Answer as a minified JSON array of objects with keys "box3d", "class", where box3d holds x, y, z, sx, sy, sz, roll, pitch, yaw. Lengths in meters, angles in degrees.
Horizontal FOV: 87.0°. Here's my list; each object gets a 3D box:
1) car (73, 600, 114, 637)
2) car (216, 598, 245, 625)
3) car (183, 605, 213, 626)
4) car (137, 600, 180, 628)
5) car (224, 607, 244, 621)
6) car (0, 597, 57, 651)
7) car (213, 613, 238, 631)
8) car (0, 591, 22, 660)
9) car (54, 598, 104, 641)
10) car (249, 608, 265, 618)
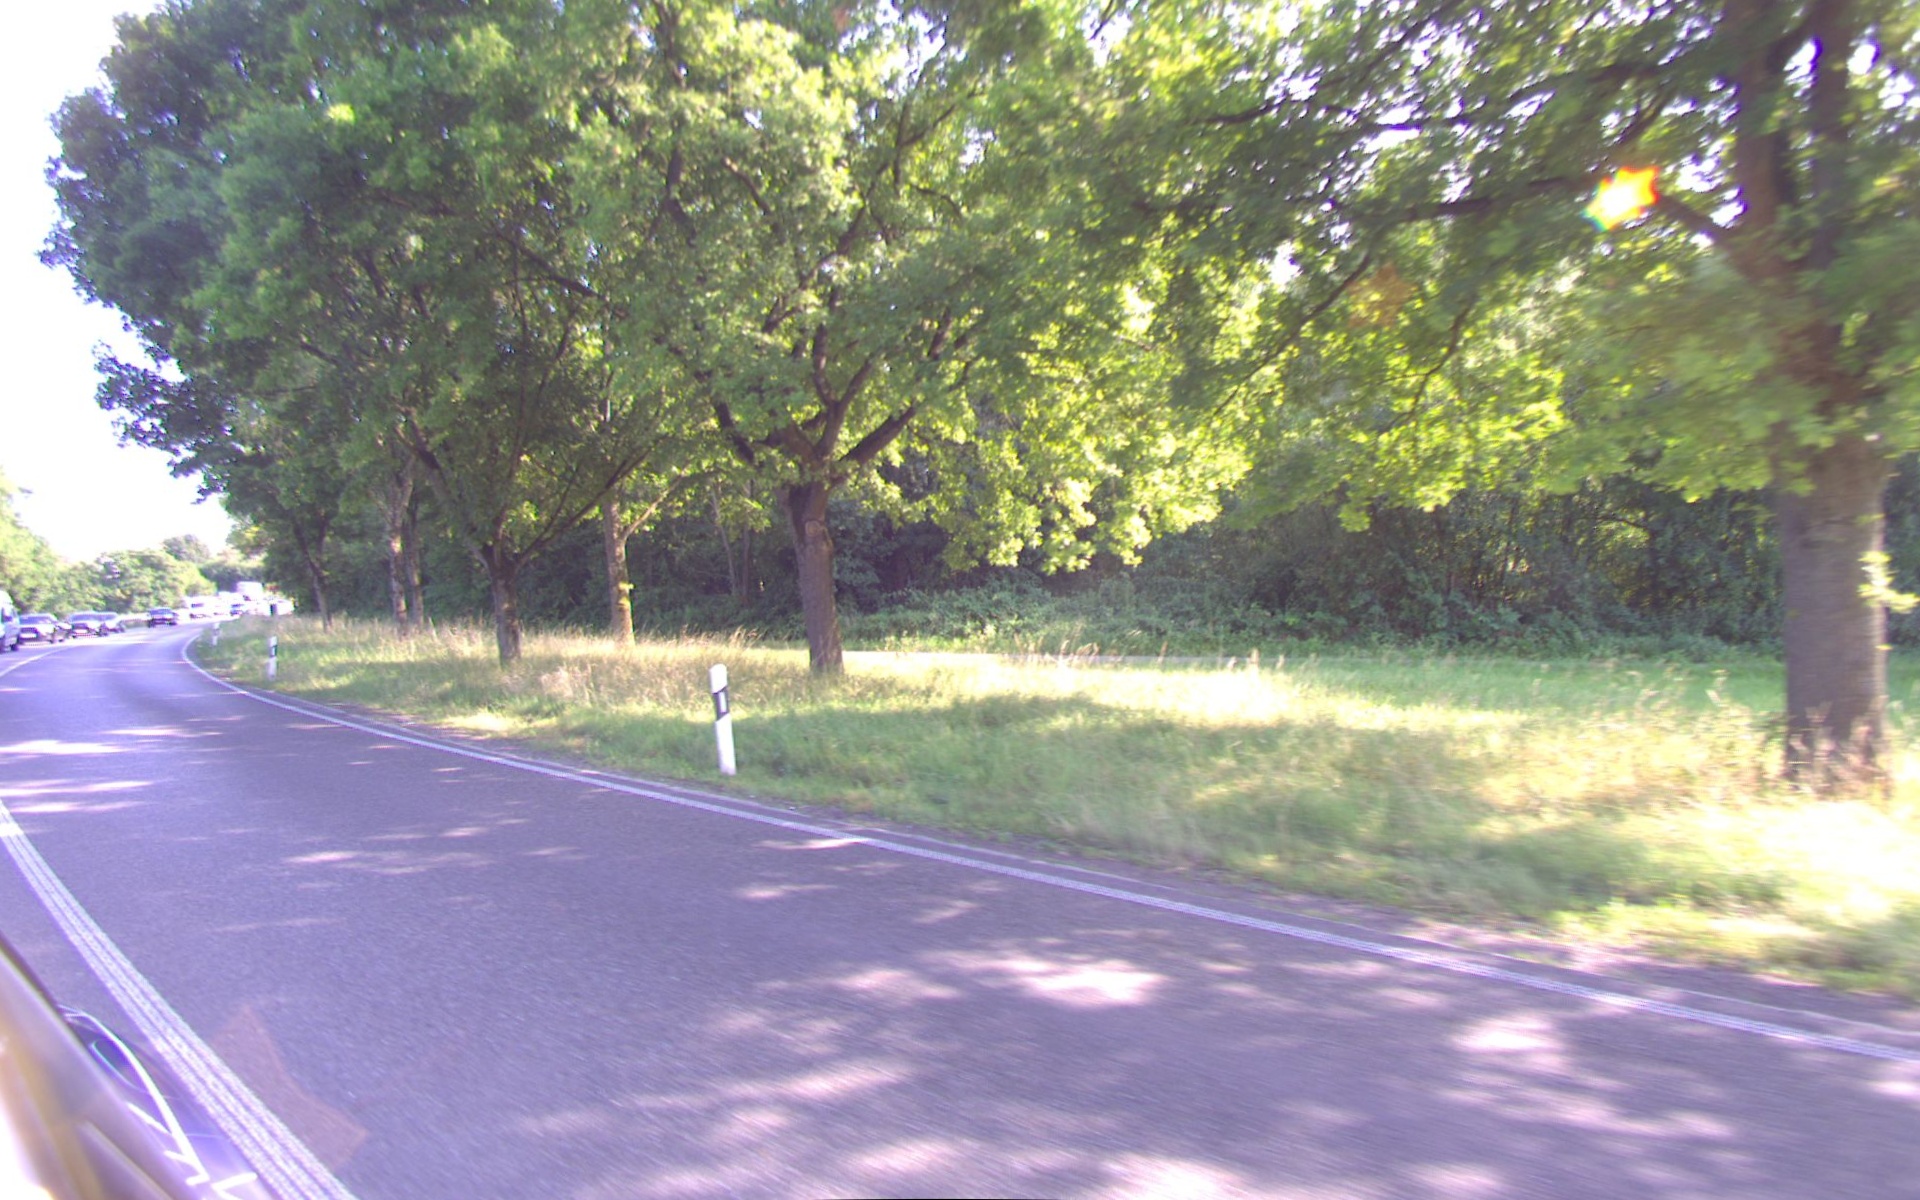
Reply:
[{"box3d":[-60.326,1.276,70.557,2.057,2.435,5.151,-1,0,-40],"class":"car"},{"box3d":[-66.467,1.026,92.244,2.055,2.435,5.155,-1,0,-35],"class":"car"},{"box3d":[-90.641,1.829,120.471,2.054,2.435,5.158,-1,0,-28],"class":"car"},{"box3d":[-71.450,1.226,90.287,2.054,2.435,5.158,-1,0,-28],"class":"car"},{"box3d":[-89.465,1.682,124.788,1.871,1.644,4.262,-1,0,-34],"class":"car"},{"box3d":[-44.186,1.092,47.826,2.057,2.435,5.151,-1,0,-40],"class":"car"},{"box3d":[-102.637,3.080,141.460,2.054,2.435,5.158,-1,0,-28],"class":"car"},{"box3d":[-36.328,0.929,37.259,2.056,2.435,5.153,-1,0,-37],"class":"car"},{"box3d":[-51.929,1.103,59.743,2.057,2.435,5.151,-1,0,-40],"class":"car"},{"box3d":[-114.072,2.091,164.227,1.864,1.644,4.263,-1,0,-31],"class":"car"}]
